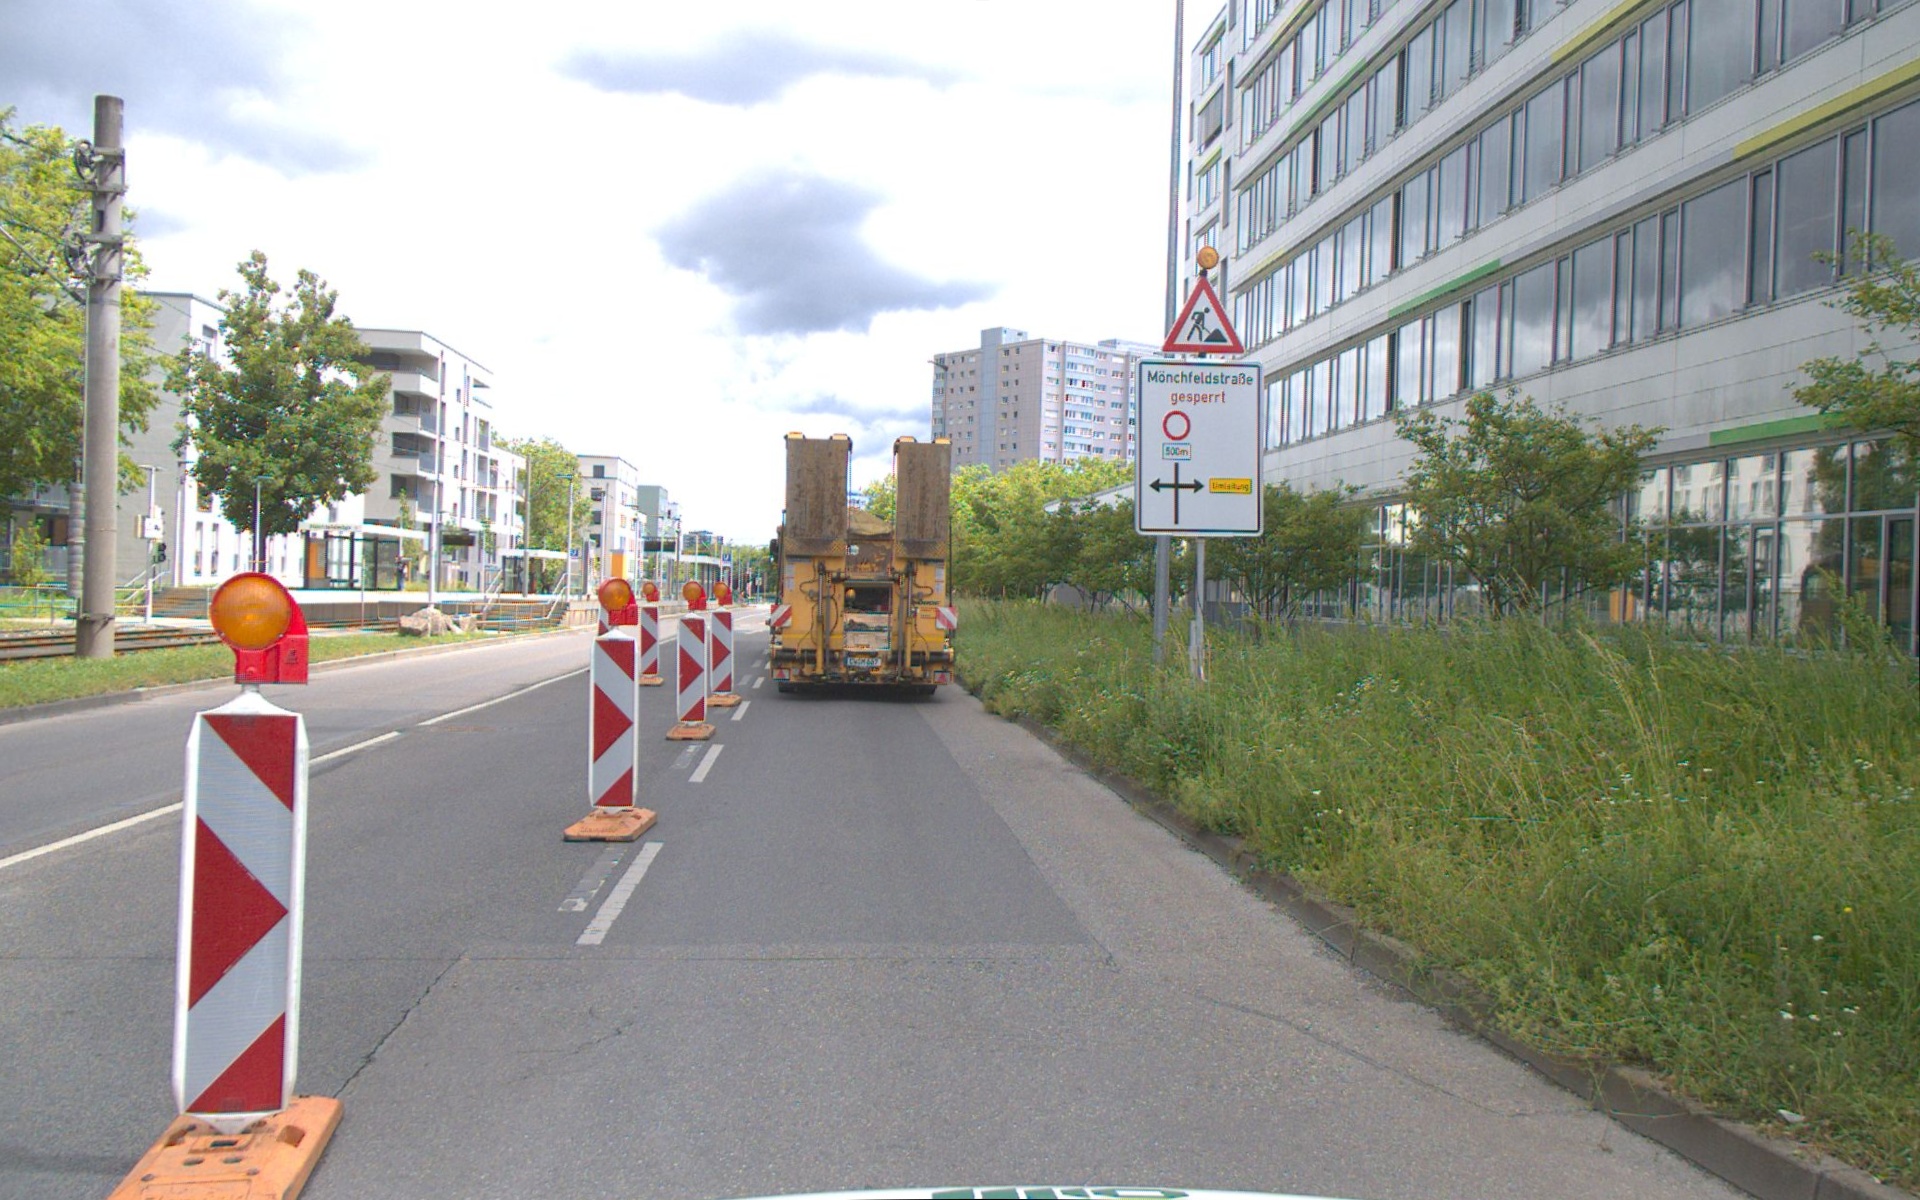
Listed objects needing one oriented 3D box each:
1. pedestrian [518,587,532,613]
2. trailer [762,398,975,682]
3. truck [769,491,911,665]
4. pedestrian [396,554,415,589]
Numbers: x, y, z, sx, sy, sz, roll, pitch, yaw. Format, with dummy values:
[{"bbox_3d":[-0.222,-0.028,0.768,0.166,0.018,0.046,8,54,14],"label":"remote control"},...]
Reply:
[{"bbox_3d":[-27.133,-0.010,103.135,0.478,1.624,0.676,1,-1,30],"label":"pedestrian"},{"bbox_3d":[-1.746,-0.768,27.188,2.676,3.621,11.239,2,0,-6],"label":"trailer"},{"bbox_3d":[-2.667,-0.423,36.964,2.699,3.371,8.344,2,0,-4],"label":"truck"},{"bbox_3d":[-25.752,-1.316,76.755,0.728,1.558,0.545,2,0,-13],"label":"pedestrian"}]
